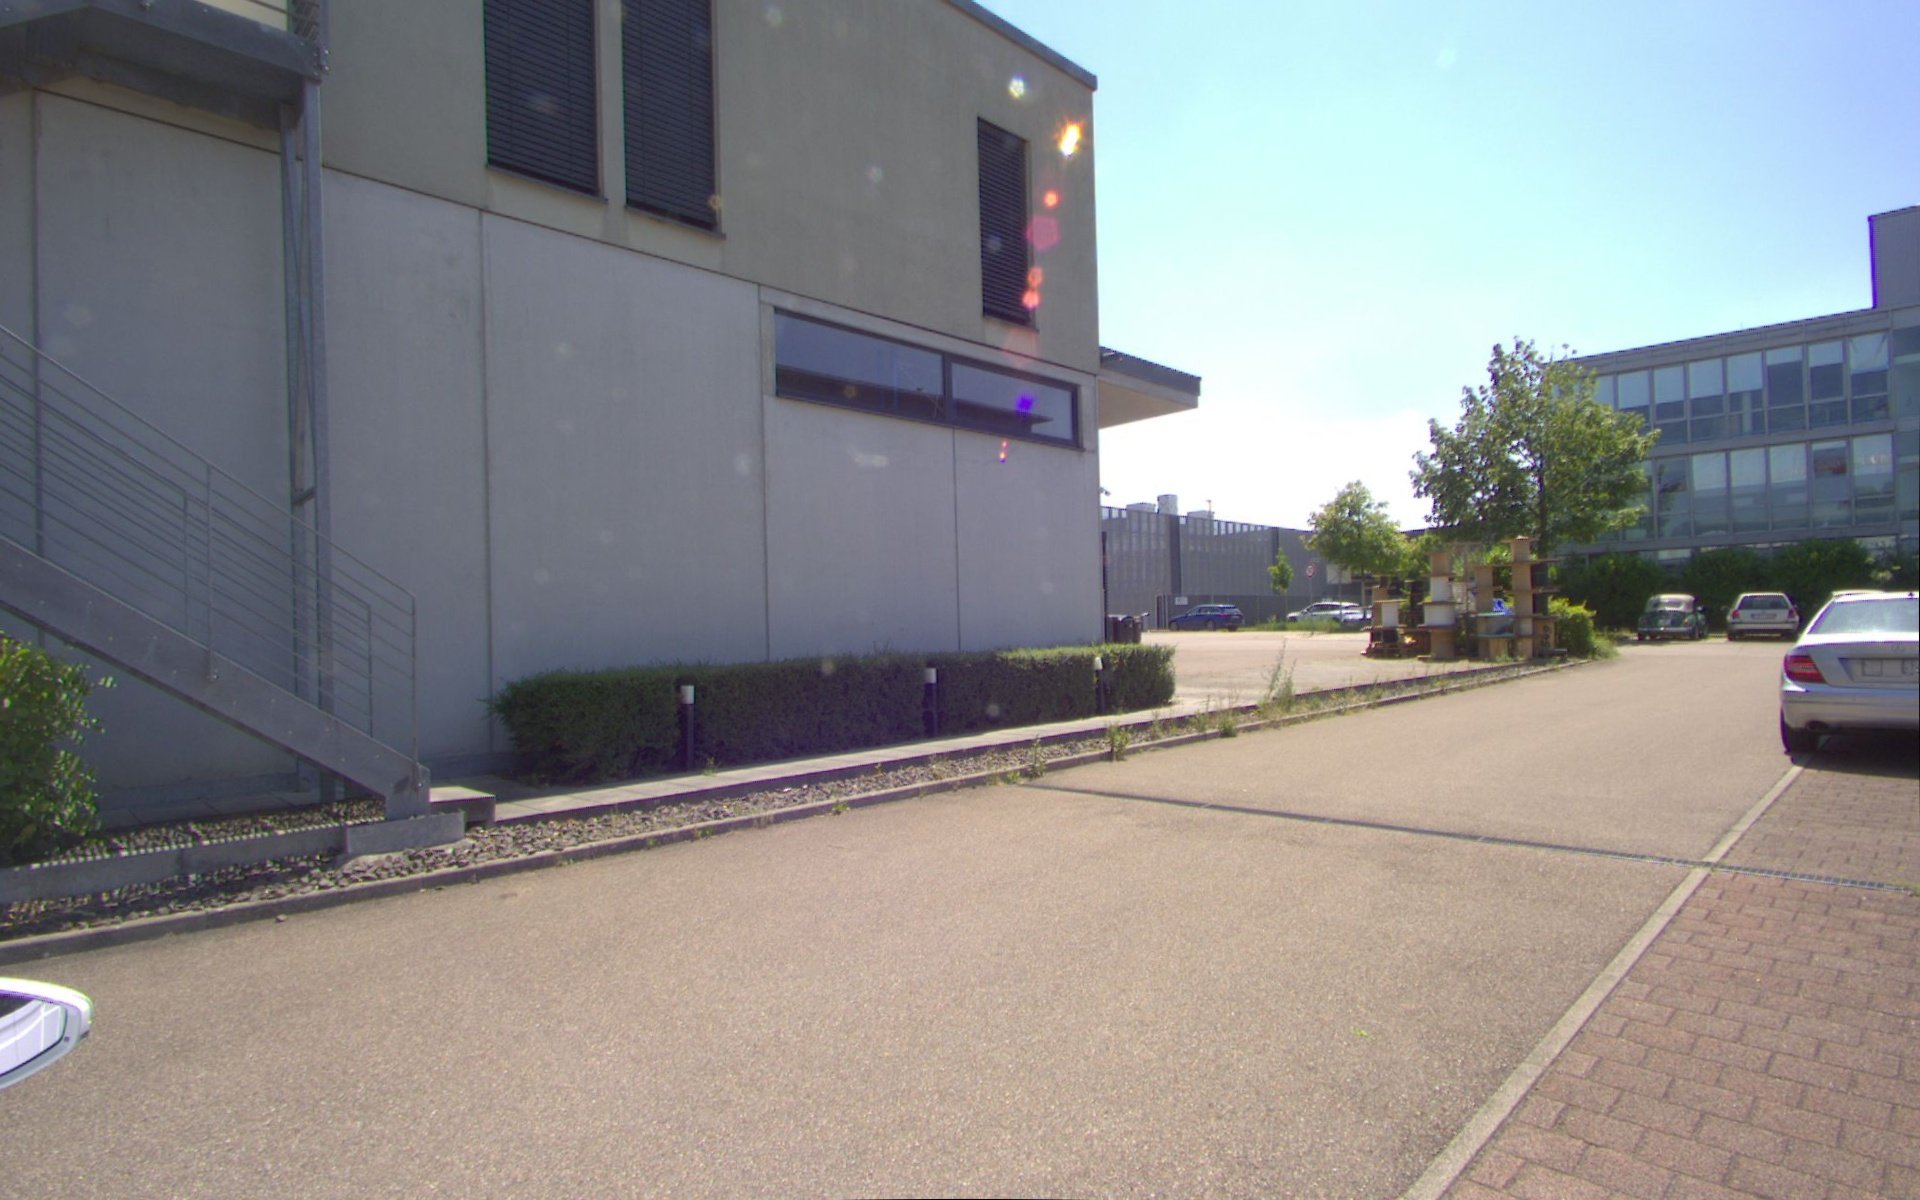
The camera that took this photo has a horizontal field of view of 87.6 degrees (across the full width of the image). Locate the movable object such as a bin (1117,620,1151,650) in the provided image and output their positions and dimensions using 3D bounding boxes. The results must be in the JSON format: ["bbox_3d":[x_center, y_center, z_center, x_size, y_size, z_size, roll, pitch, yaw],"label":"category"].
[{"bbox_3d":[5.805,1.157,33.367,0.809,0.993,0.803,-1,-1,45],"label":"movable object such as a bin"}]

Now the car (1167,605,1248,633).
[{"bbox_3d":[13.466,1.071,54.668,1.725,1.433,4.426,1,-2,-30],"label":"car"}]

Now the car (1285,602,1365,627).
[{"bbox_3d":[21.744,0.906,59.767,1.726,1.433,4.424,1,-2,-31],"label":"car"}]

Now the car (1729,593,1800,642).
[{"bbox_3d":[25.192,0.565,31.439,1.654,1.459,3.972,-1,-2,38],"label":"car"}]

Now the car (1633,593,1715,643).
[{"bbox_3d":[23.489,0.617,32.890,1.730,1.538,3.966,-2,-2,42],"label":"car"}]

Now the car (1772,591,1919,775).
[{"bbox_3d":[8.867,0.679,9.235,3.680,1.455,1.713,1,-2,-44],"label":"car"}]

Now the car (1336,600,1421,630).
[{"bbox_3d":[22.383,0.791,53.593,4.103,1.539,1.650,0,-1,-19],"label":"car"}]

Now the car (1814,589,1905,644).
[{"bbox_3d":[27.099,0.515,30.277,1.728,1.538,3.972,-1,-2,38],"label":"car"}]
